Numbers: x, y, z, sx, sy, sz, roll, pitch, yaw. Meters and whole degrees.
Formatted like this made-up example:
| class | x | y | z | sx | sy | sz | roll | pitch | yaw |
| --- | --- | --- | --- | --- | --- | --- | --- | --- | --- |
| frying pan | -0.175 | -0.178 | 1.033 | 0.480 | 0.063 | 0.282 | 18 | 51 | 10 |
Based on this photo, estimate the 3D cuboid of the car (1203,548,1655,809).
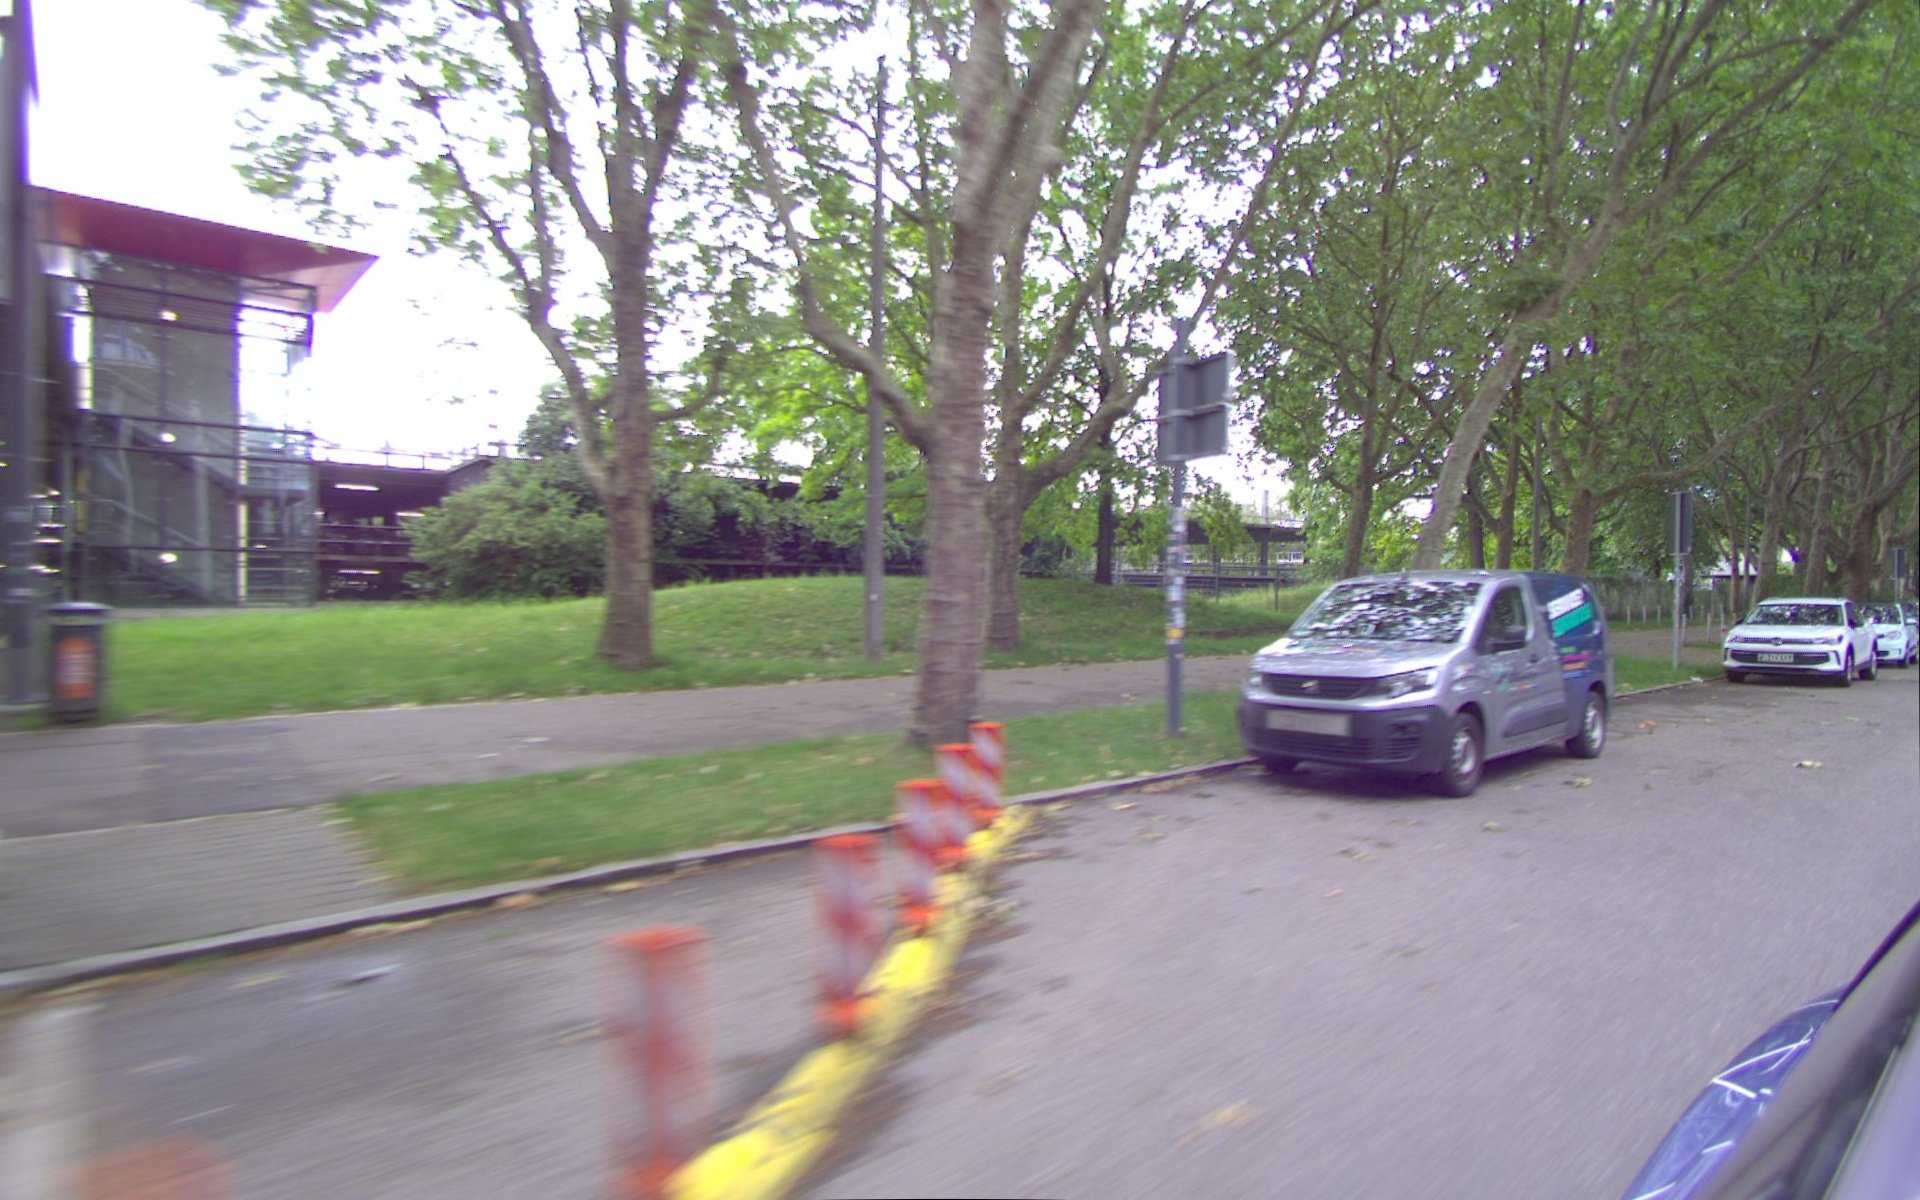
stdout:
| class | x | y | z | sx | sy | sz | roll | pitch | yaw |
| --- | --- | --- | --- | --- | --- | --- | --- | --- | --- |
| car | 4.560 | 0.532 | 9.390 | 5.119 | 1.805 | 1.850 | 0 | 0 | -41 |

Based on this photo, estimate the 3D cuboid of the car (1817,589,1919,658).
| class | x | y | z | sx | sy | sz | roll | pitch | yaw |
| --- | --- | --- | --- | --- | --- | --- | --- | --- | --- |
| car | 22.762 | 0.526 | 24.987 | 4.023 | 1.545 | 1.811 | 0 | 1 | -40 |

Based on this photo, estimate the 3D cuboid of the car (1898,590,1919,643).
| class | x | y | z | sx | sy | sz | roll | pitch | yaw |
| --- | --- | --- | --- | --- | --- | --- | --- | --- | --- |
| car | 33.323 | 0.535 | 34.158 | 4.649 | 1.701 | 1.985 | 0 | 1 | -41 |

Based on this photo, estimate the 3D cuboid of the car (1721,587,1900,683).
| class | x | y | z | sx | sy | sz | roll | pitch | yaw |
| --- | --- | --- | --- | --- | --- | --- | --- | --- | --- |
| car | 16.624 | 0.577 | 19.702 | 4.665 | 1.638 | 1.918 | 0 | 1 | -40 |
